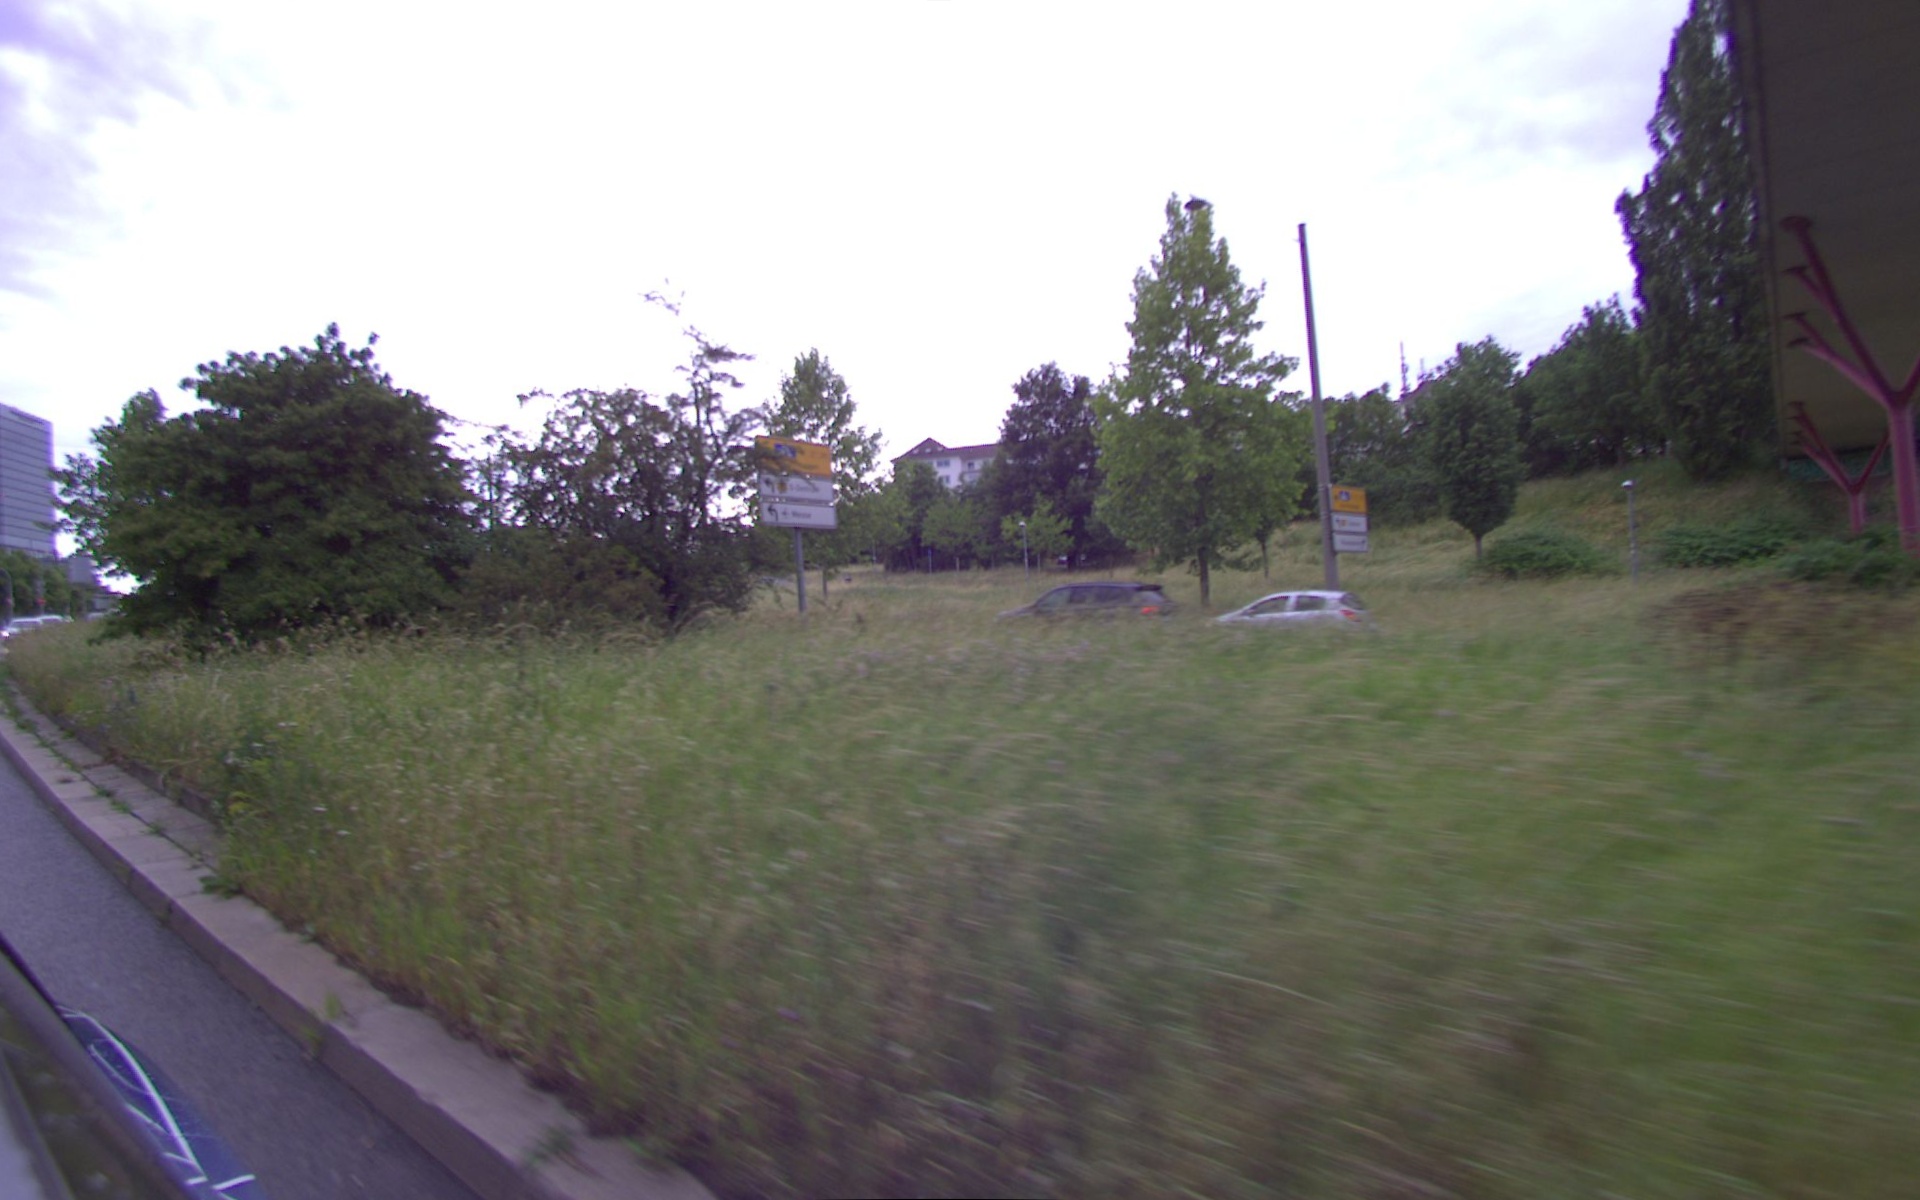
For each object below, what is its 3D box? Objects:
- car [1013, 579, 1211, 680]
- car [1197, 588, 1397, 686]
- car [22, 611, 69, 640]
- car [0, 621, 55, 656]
[{"bbox_3d":[3.426,0.624,23.197,3.997,2.028,1.974,-1,3,40],"label":"car"},{"bbox_3d":[7.917,0.823,23.940,3.997,2.028,1.974,-1,3,40],"label":"car"},{"bbox_3d":[-58.649,1.623,64.949,1.968,1.785,4.007,-2,0,-39],"label":"car"},{"bbox_3d":[-52.117,2.130,56.532,1.968,1.785,4.008,-2,0,-38],"label":"car"}]
